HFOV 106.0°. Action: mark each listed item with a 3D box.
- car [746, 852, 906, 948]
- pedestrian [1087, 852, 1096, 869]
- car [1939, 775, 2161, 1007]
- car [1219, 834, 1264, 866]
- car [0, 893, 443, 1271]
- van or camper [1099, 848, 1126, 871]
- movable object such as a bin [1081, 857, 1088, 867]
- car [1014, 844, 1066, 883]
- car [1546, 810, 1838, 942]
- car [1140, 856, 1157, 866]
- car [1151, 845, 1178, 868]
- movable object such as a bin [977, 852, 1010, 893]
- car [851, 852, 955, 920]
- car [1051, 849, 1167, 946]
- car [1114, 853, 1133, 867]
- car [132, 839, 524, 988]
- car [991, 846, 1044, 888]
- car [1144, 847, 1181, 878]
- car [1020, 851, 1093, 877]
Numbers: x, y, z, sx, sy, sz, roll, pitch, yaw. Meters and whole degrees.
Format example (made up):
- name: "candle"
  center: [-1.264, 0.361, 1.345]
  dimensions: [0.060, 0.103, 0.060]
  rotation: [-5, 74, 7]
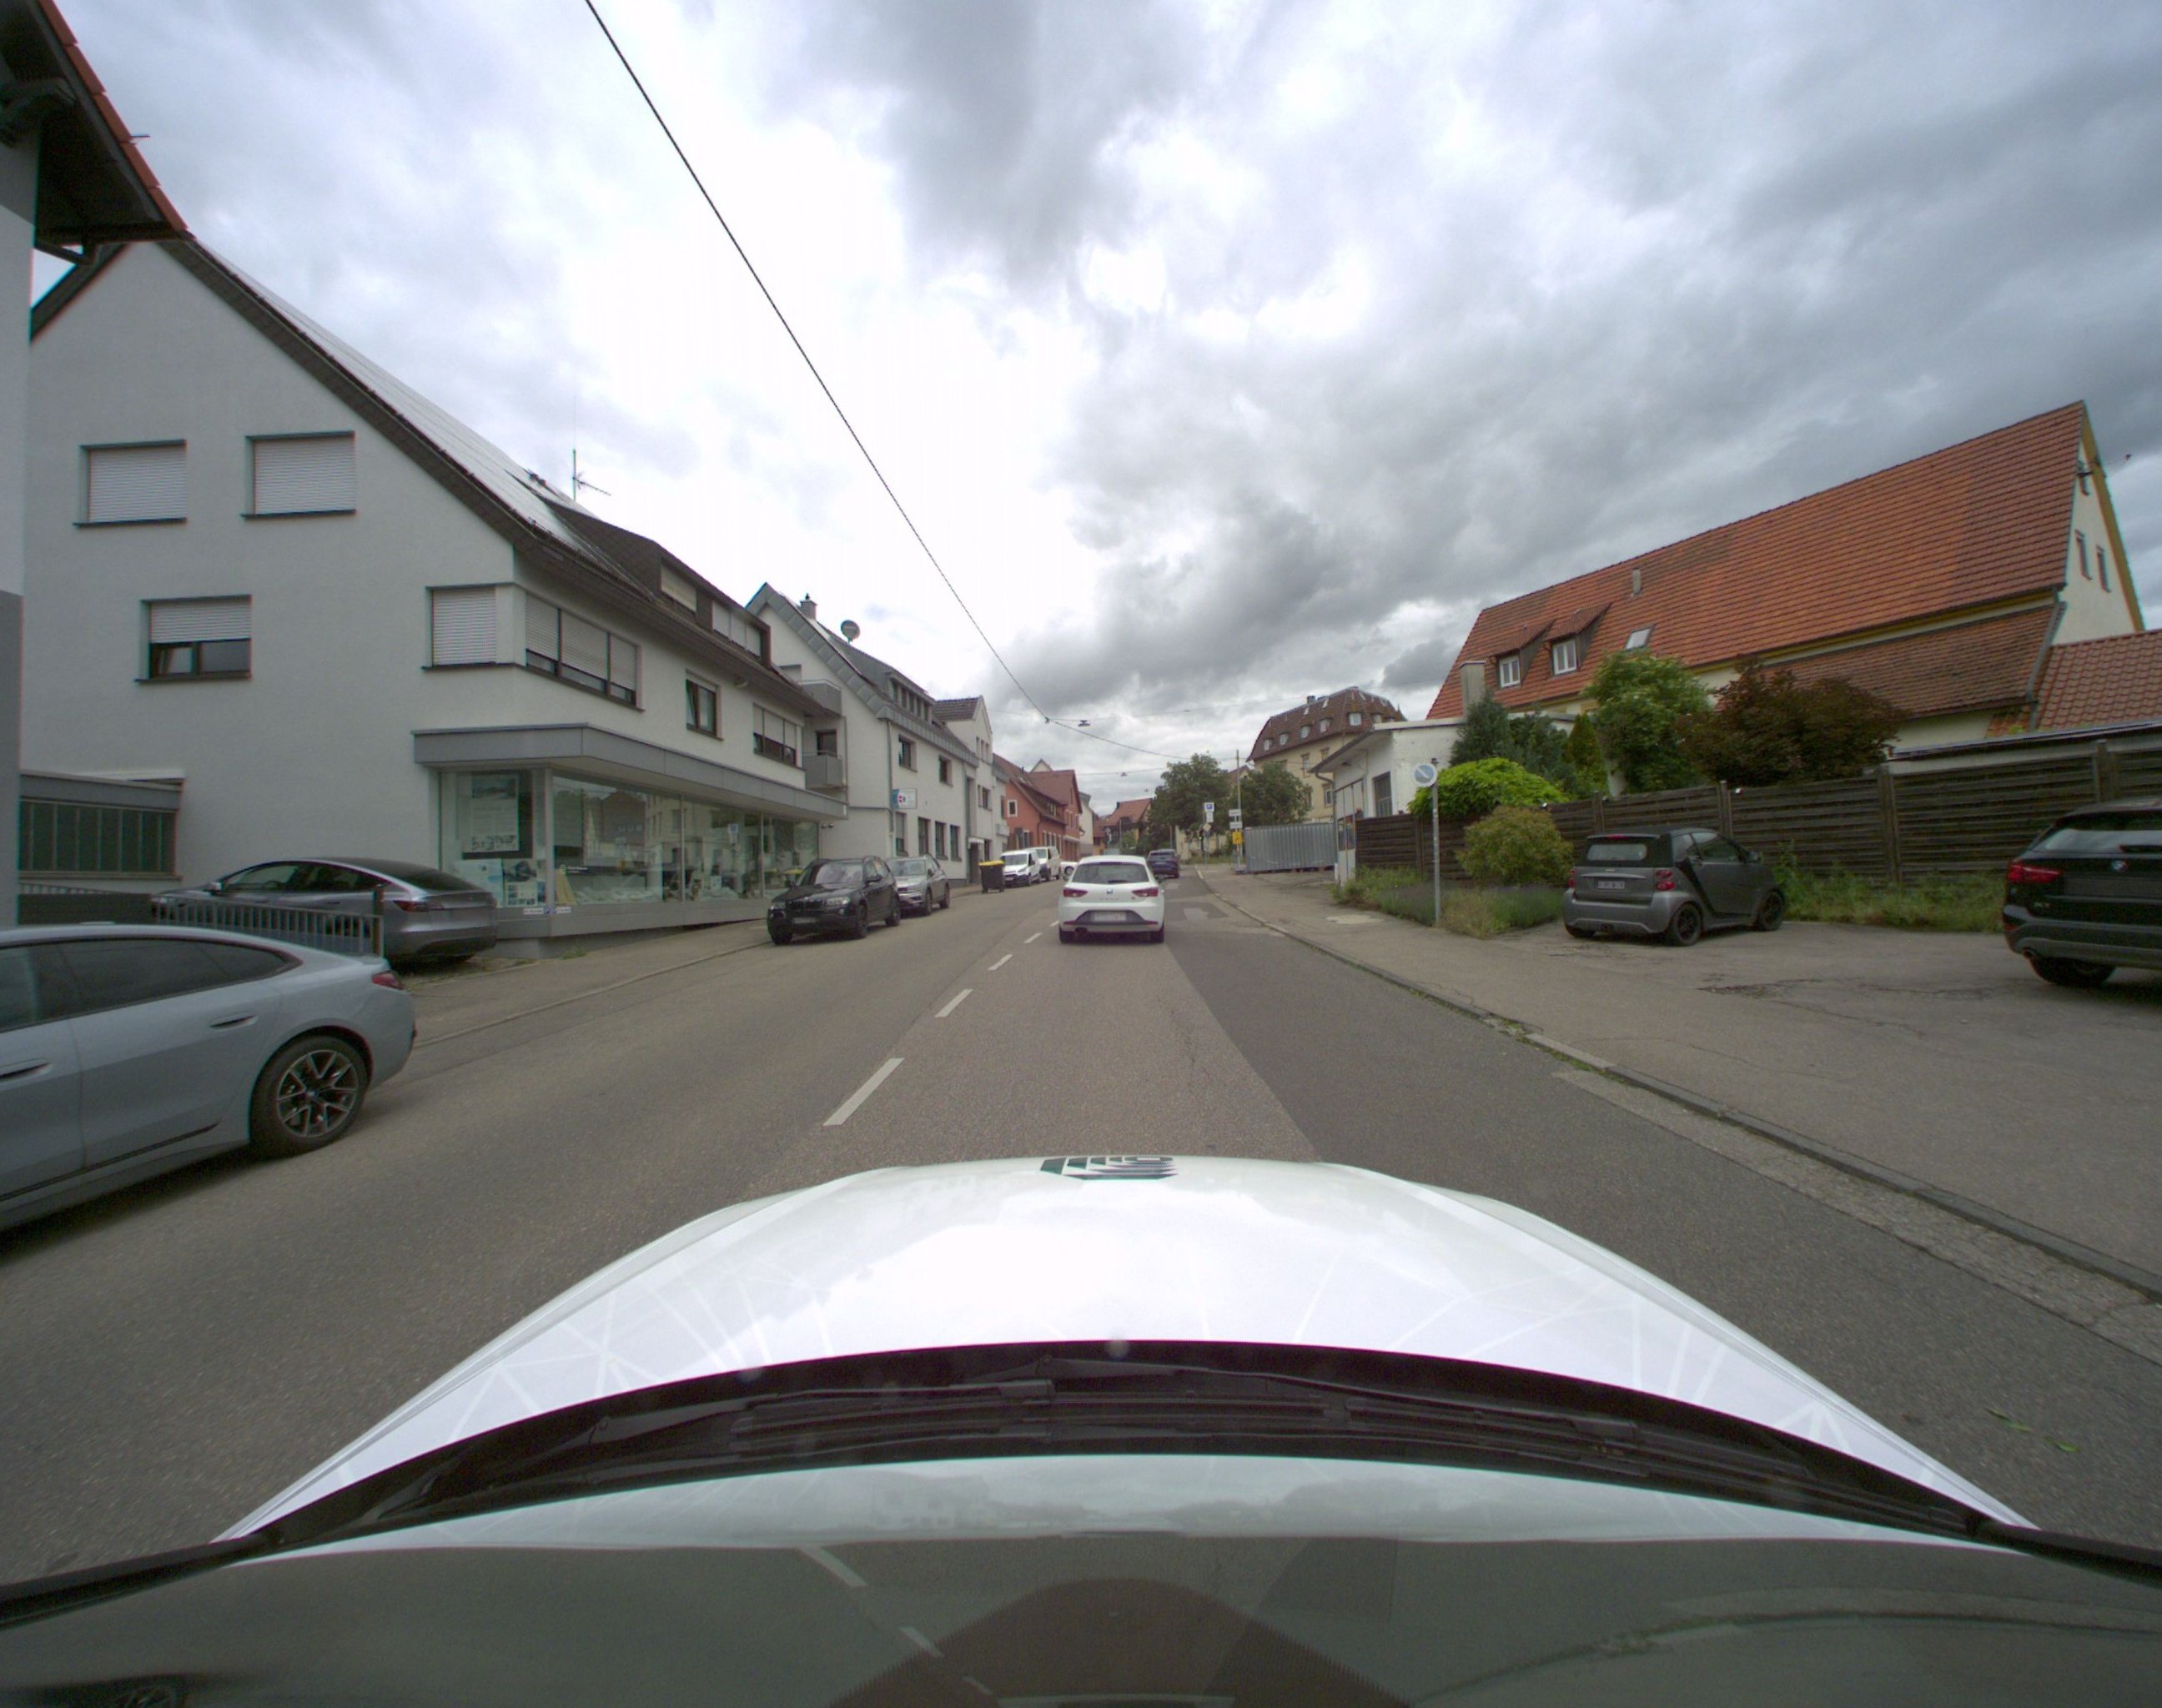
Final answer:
- name: "car"
  center: [-5.171, 0.836, 17.189]
  dimensions: [1.831, 1.632, 4.409]
  rotation: [-4, 0, 1]
- name: "pedestrian"
  center: [1.072, 0.681, 84.574]
  dimensions: [0.796, 1.785, 0.894]
  rotation: [-2, 0, 6]
- name: "car"
  center: [9.662, 0.161, 6.463]
  dimensions: [4.110, 1.654, 1.899]
  rotation: [-3, 0, -9]
- name: "car"
  center: [9.610, -0.253, 48.953]
  dimensions: [1.740, 1.739, 4.572]
  rotation: [-4, 0, 0]
- name: "car"
  center: [-5.415, 1.061, 3.449]
  dimensions: [1.832, 1.445, 4.466]
  rotation: [-4, 0, 0]
- name: "van or camper"
  center: [3.148, 0.566, 80.142]
  dimensions: [2.063, 2.006, 4.866]
  rotation: [-4, -2, 7]
- name: "movable object such as a bin"
  center: [0.389, 0.900, 89.141]
  dimensions: [0.662, 1.018, 0.796]
  rotation: [-3, 0, 3]
- name: "car"
  center: [-2.257, 0.485, 46.071]
  dimensions: [1.801, 2.005, 4.775]
  rotation: [-4, 0, 9]
- name: "car"
  center: [8.539, 0.250, 11.430]
  dimensions: [3.323, 1.519, 1.693]
  rotation: [-3, 0, -20]
- name: "car"
  center: [10.326, 1.074, 124.802]
  dimensions: [1.757, 1.452, 3.989]
  rotation: [0, -2, -8]
- name: "car"
  center: [5.715, 0.202, 55.872]
  dimensions: [1.750, 1.452, 4.006]
  rotation: [-2, -1, 6]
- name: "movable object such as a bin"
  center: [-3.714, 0.762, 34.701]
  dimensions: [1.136, 1.632, 1.563]
  rotation: [-3, 0, 1]
- name: "car"
  center: [-4.894, 0.807, 23.025]
  dimensions: [1.831, 1.632, 4.409]
  rotation: [-3, 0, 1]
- name: "car"
  center: [0.639, 0.691, 14.727]
  dimensions: [1.749, 1.452, 4.007]
  rotation: [-2, 0, 6]
- name: "car"
  center: [5.160, 0.722, 99.970]
  dimensions: [1.992, 1.633, 4.855]
  rotation: [-1, -1, -1]
- name: "car"
  center: [-11.090, 0.821, 12.238]
  dimensions: [3.972, 1.856, 2.001]
  rotation: [-3, 0, 2]
- name: "car"
  center: [-3.116, 0.600, 40.661]
  dimensions: [1.724, 1.831, 4.306]
  rotation: [-4, 0, 7]
- name: "car"
  center: [4.188, 0.450, 42.158]
  dimensions: [1.750, 1.452, 4.005]
  rotation: [-2, -1, 5]
- name: "car"
  center: [-1.651, 0.701, 55.647]
  dimensions: [4.525, 1.445, 2.006]
  rotation: [-4, 0, 10]
